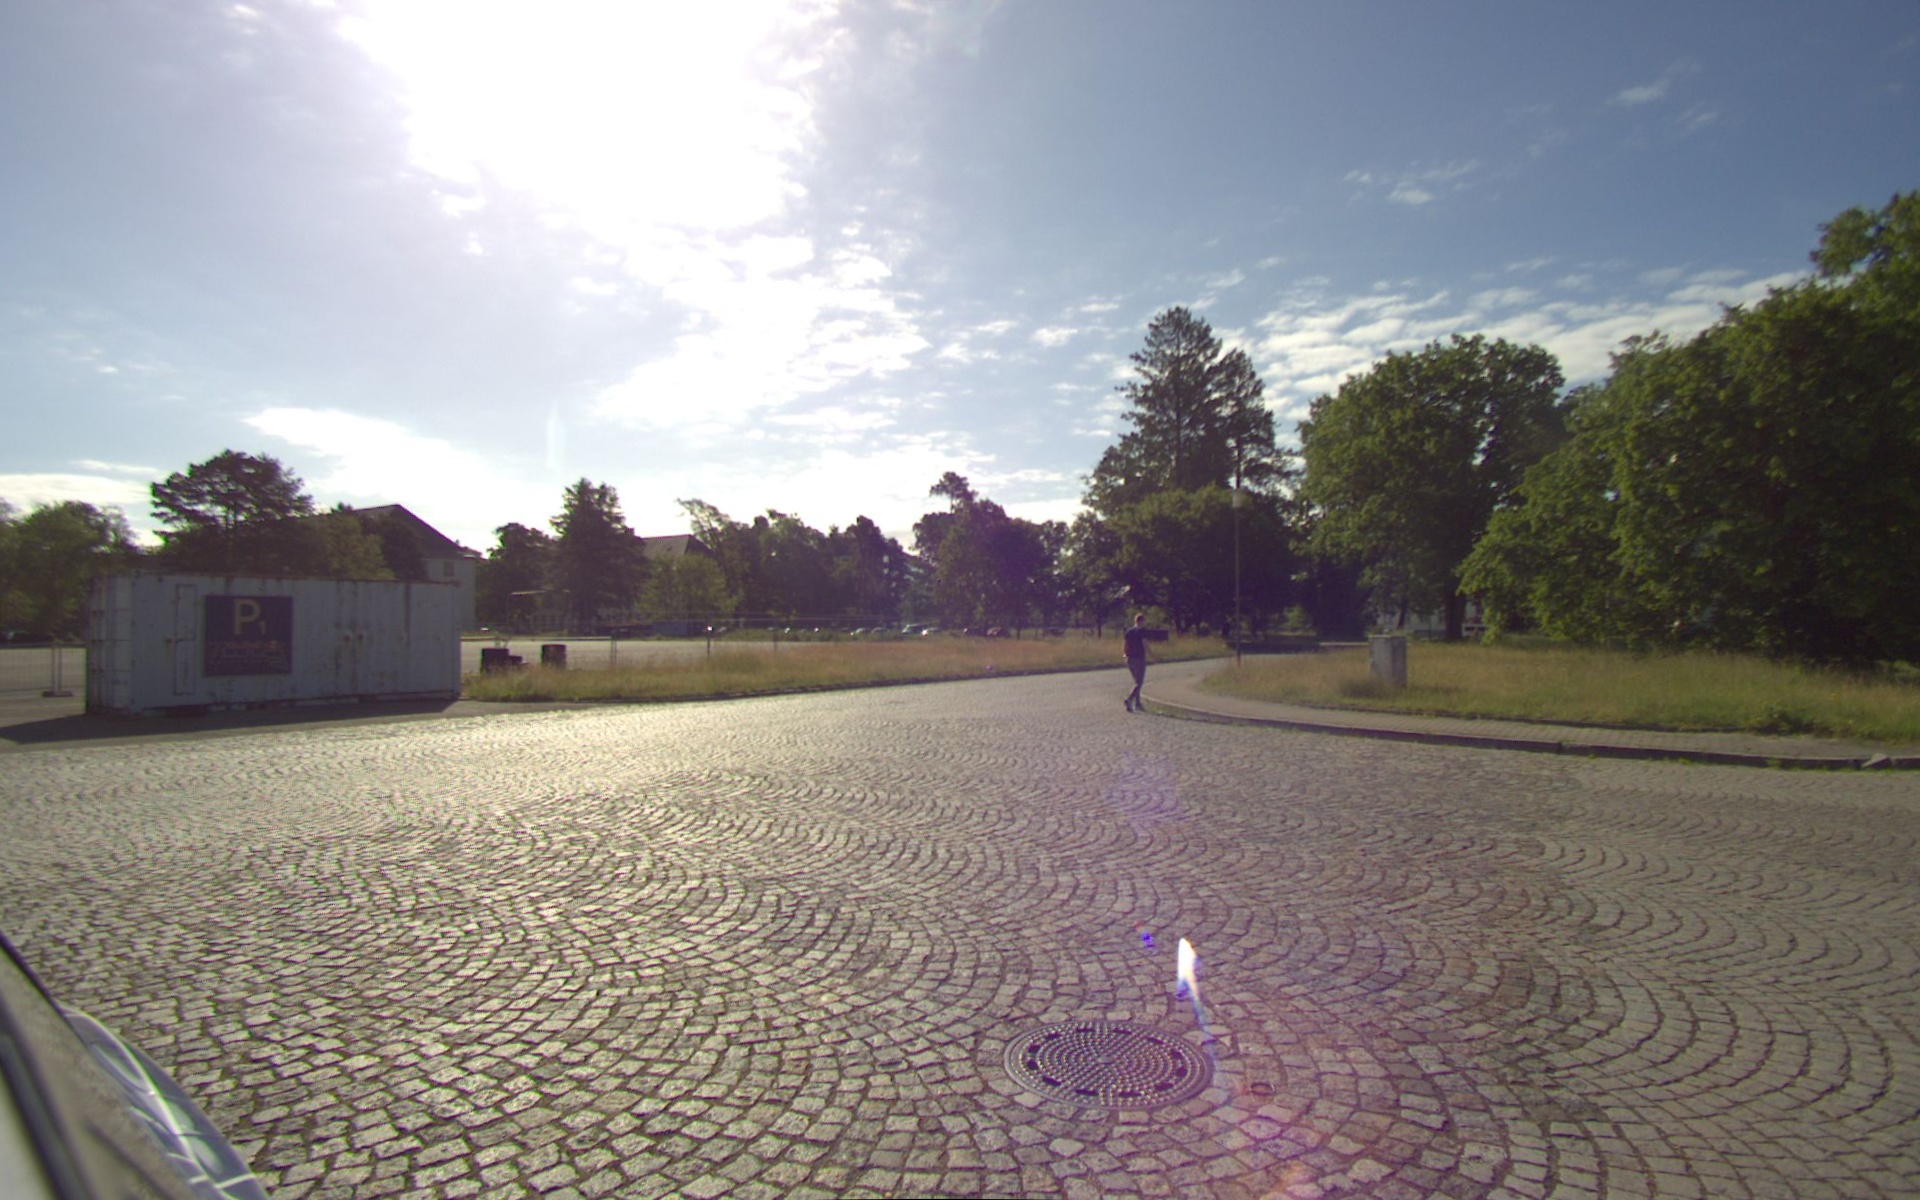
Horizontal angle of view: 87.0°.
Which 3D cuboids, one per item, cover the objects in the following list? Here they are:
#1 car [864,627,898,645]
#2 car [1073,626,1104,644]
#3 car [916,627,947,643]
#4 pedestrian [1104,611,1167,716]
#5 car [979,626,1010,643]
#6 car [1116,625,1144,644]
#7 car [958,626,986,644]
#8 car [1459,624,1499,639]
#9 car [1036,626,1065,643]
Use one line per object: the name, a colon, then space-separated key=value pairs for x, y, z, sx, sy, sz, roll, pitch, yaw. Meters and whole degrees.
car: x=-9.996 y=4.542 z=128.100 sx=1.998 sy=2.029 sz=3.947 roll=-5 pitch=-4 yaw=39
car: x=14.304 y=3.888 z=112.414 sx=1.992 sy=2.029 sz=3.959 roll=-1 pitch=-2 yaw=30
car: x=-3.454 y=4.240 z=123.906 sx=1.992 sy=1.962 sz=3.959 roll=-1 pitch=-2 yaw=30
pedestrian: x=3.353 y=1.178 z=19.307 sx=0.798 sy=1.929 sz=1.129 roll=-1 pitch=-2 yaw=33
car: x=4.049 y=4.054 z=118.801 sx=1.993 sy=2.029 sz=3.958 roll=-1 pitch=-2 yaw=31
car: x=18.312 y=3.725 z=109.030 sx=1.989 sy=2.029 sz=3.965 roll=-1 pitch=-2 yaw=26
car: x=1.419 y=4.117 z=120.154 sx=1.988 sy=2.029 sz=3.967 roll=-1 pitch=-2 yaw=24
car: x=74.644 y=4.542 z=145.574 sx=4.859 sy=2.111 sz=1.978 roll=-1 pitch=-2 yaw=33
car: x=10.231 y=3.871 z=114.640 sx=1.989 sy=1.830 sz=3.965 roll=-1 pitch=-2 yaw=26
